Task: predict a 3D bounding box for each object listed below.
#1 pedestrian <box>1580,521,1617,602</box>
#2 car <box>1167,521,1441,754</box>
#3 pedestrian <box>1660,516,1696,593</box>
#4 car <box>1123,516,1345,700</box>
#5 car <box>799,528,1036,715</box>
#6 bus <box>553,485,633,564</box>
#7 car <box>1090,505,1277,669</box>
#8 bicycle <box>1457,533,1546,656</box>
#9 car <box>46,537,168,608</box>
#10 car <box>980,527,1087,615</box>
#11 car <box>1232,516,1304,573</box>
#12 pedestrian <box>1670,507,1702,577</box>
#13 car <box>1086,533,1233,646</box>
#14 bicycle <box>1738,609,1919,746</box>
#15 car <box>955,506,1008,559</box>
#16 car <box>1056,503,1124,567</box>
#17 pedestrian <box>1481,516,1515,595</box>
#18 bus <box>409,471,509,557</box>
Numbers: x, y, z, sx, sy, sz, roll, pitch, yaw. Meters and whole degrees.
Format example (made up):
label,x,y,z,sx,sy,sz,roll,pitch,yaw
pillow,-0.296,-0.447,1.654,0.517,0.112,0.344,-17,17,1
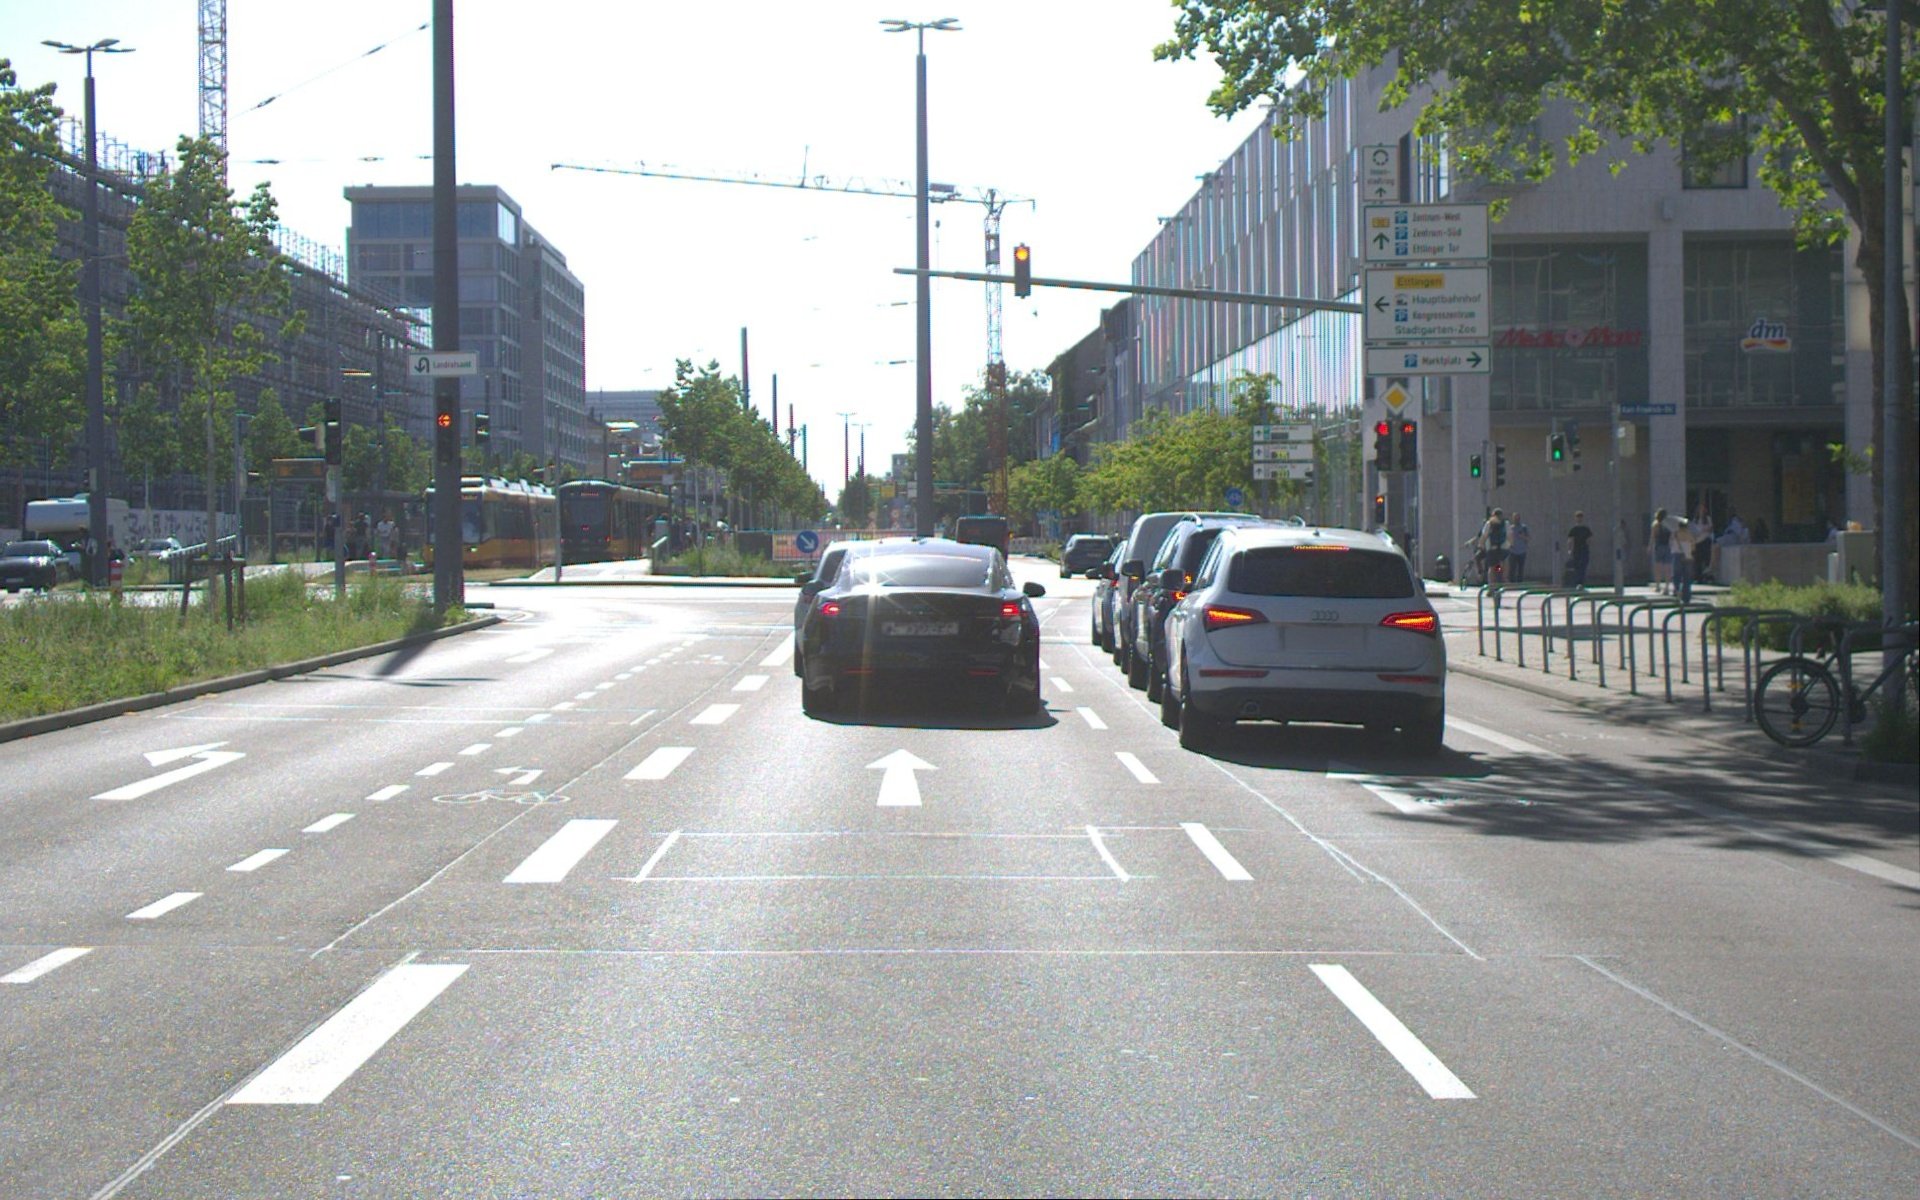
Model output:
label,x,y,z,sx,sy,sz,roll,pitch,yaw
pedestrian,11.534,-0.689,62.107,0.562,1.435,0.631,2,0,6
car,2.531,0.214,26.111,1.721,1.612,4.186,0,1,1
pedestrian,13.459,-0.848,64.424,0.562,1.435,0.631,2,0,6
car,2.564,0.022,32.989,1.721,1.647,4.187,0,1,-1
car,-0.393,0.127,29.704,1.912,1.481,4.010,0,1,-1
bus,-14.621,-2.983,137.614,2.627,2.949,9.900,2,0,-3
car,2.514,-0.197,39.558,1.721,1.776,4.187,0,1,-2
bicycle,6.574,-0.075,41.854,0.562,1.435,2.577,2,0,-2
car,-14.949,-0.490,60.375,1.376,1.174,3.220,2,0,-1
car,1.214,-0.521,58.562,1.721,1.427,4.186,0,1,0
car,9.316,-1.662,104.335,1.662,1.643,3.701,2,0,-2
pedestrian,15.138,-1.216,71.667,0.562,1.435,0.631,2,0,6
car,2.633,-0.176,46.158,1.721,1.427,4.186,0,1,0
bicycle,6.711,0.569,25.630,1.693,0.954,0.478,-2,1,-4
car,0.845,-2.692,137.492,1.993,2.007,4.000,2,0,0
car,4.264,-2.137,113.413,1.993,2.007,4.000,2,0,0
pedestrian,9.971,-0.826,63.718,0.562,1.435,0.631,2,0,6
bus,-17.515,-2.967,120.605,2.627,2.773,8.845,2,0,-3
